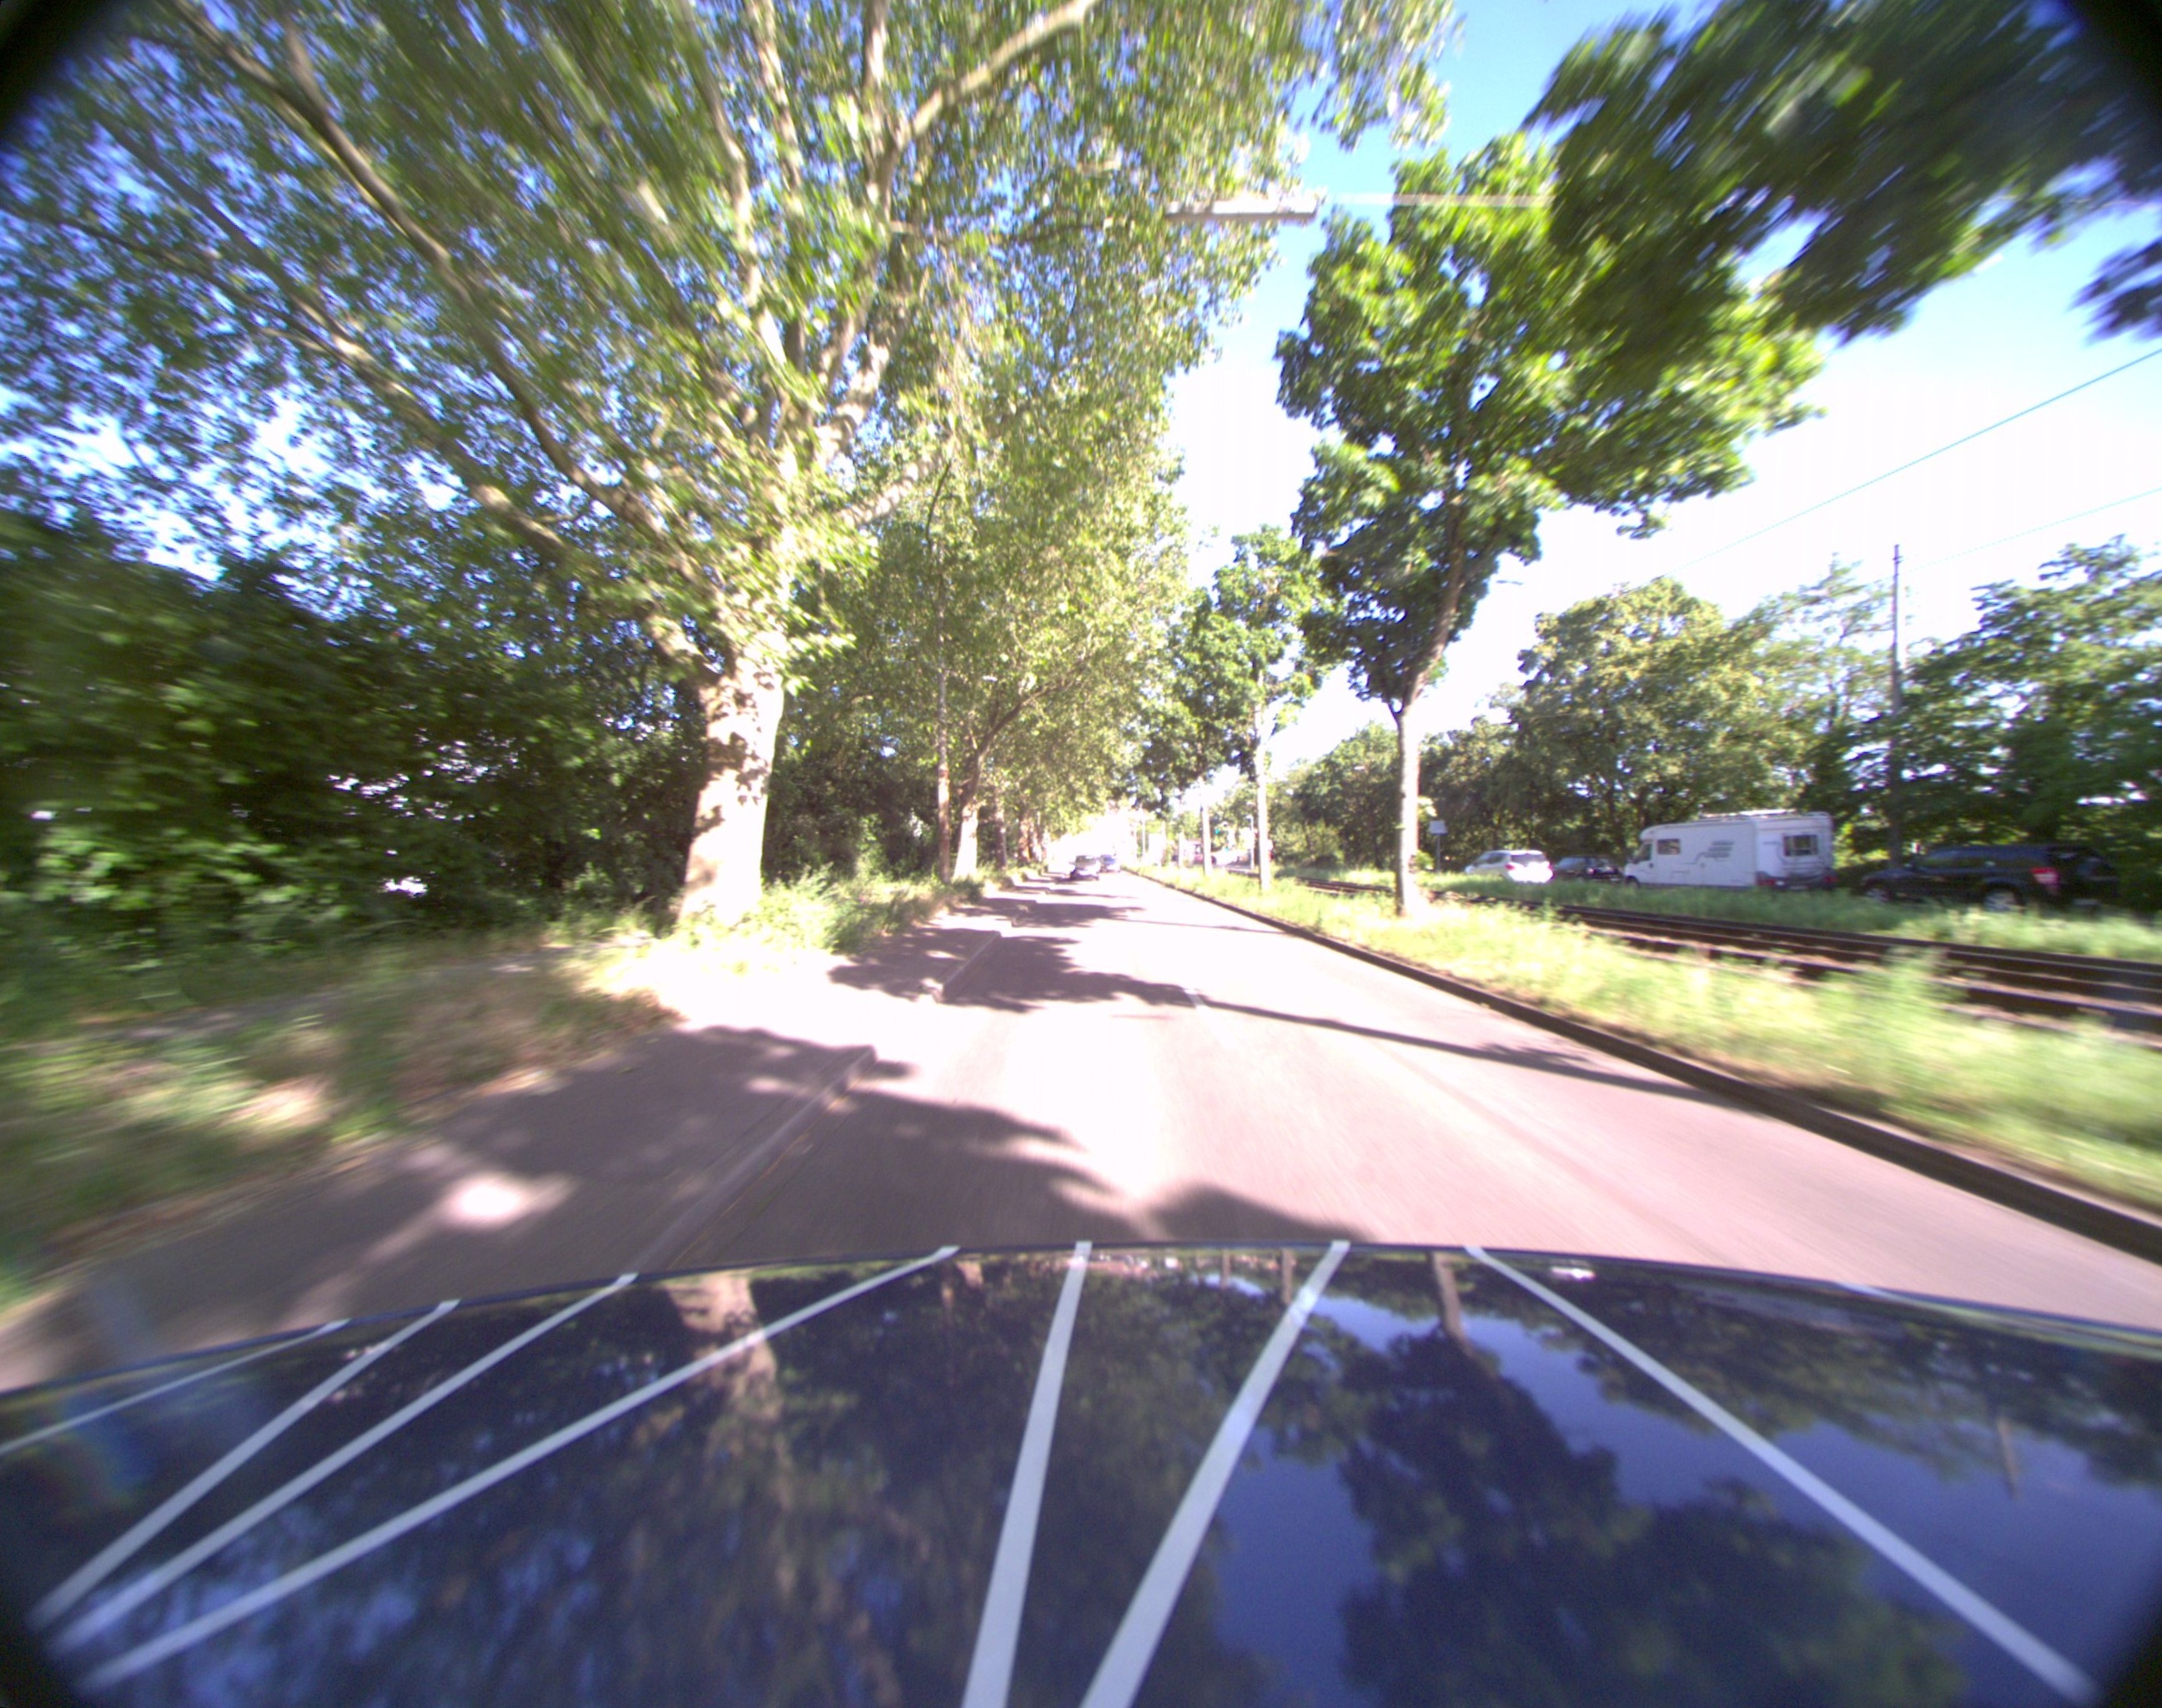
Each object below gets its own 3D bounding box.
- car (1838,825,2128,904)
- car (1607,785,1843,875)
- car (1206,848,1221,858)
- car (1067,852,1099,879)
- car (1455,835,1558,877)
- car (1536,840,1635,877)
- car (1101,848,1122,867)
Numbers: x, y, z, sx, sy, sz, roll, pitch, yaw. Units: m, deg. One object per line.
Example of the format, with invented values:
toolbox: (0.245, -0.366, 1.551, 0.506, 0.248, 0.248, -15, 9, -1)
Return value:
car: (21.295, 0.200, 18.299, 1.626, 1.613, 4.532, -2, 1, 0)
car: (21.288, -0.703, 25.732, 2.231, 2.565, 6.798, -2, 0, 1)
car: (21.148, -0.251, 121.643, 1.640, 1.486, 4.592, 2, 1, 2)
car: (0.100, 0.646, 46.105, 1.808, 1.478, 3.546, -2, 1, 0)
car: (17.073, 0.032, 30.736, 1.731, 1.519, 4.442, -2, 1, 1)
car: (21.777, 0.158, 32.989, 1.715, 1.426, 4.000, -2, 1, 2)
car: (2.595, 0.291, 65.889, 1.714, 1.478, 3.546, -2, 1, 1)
